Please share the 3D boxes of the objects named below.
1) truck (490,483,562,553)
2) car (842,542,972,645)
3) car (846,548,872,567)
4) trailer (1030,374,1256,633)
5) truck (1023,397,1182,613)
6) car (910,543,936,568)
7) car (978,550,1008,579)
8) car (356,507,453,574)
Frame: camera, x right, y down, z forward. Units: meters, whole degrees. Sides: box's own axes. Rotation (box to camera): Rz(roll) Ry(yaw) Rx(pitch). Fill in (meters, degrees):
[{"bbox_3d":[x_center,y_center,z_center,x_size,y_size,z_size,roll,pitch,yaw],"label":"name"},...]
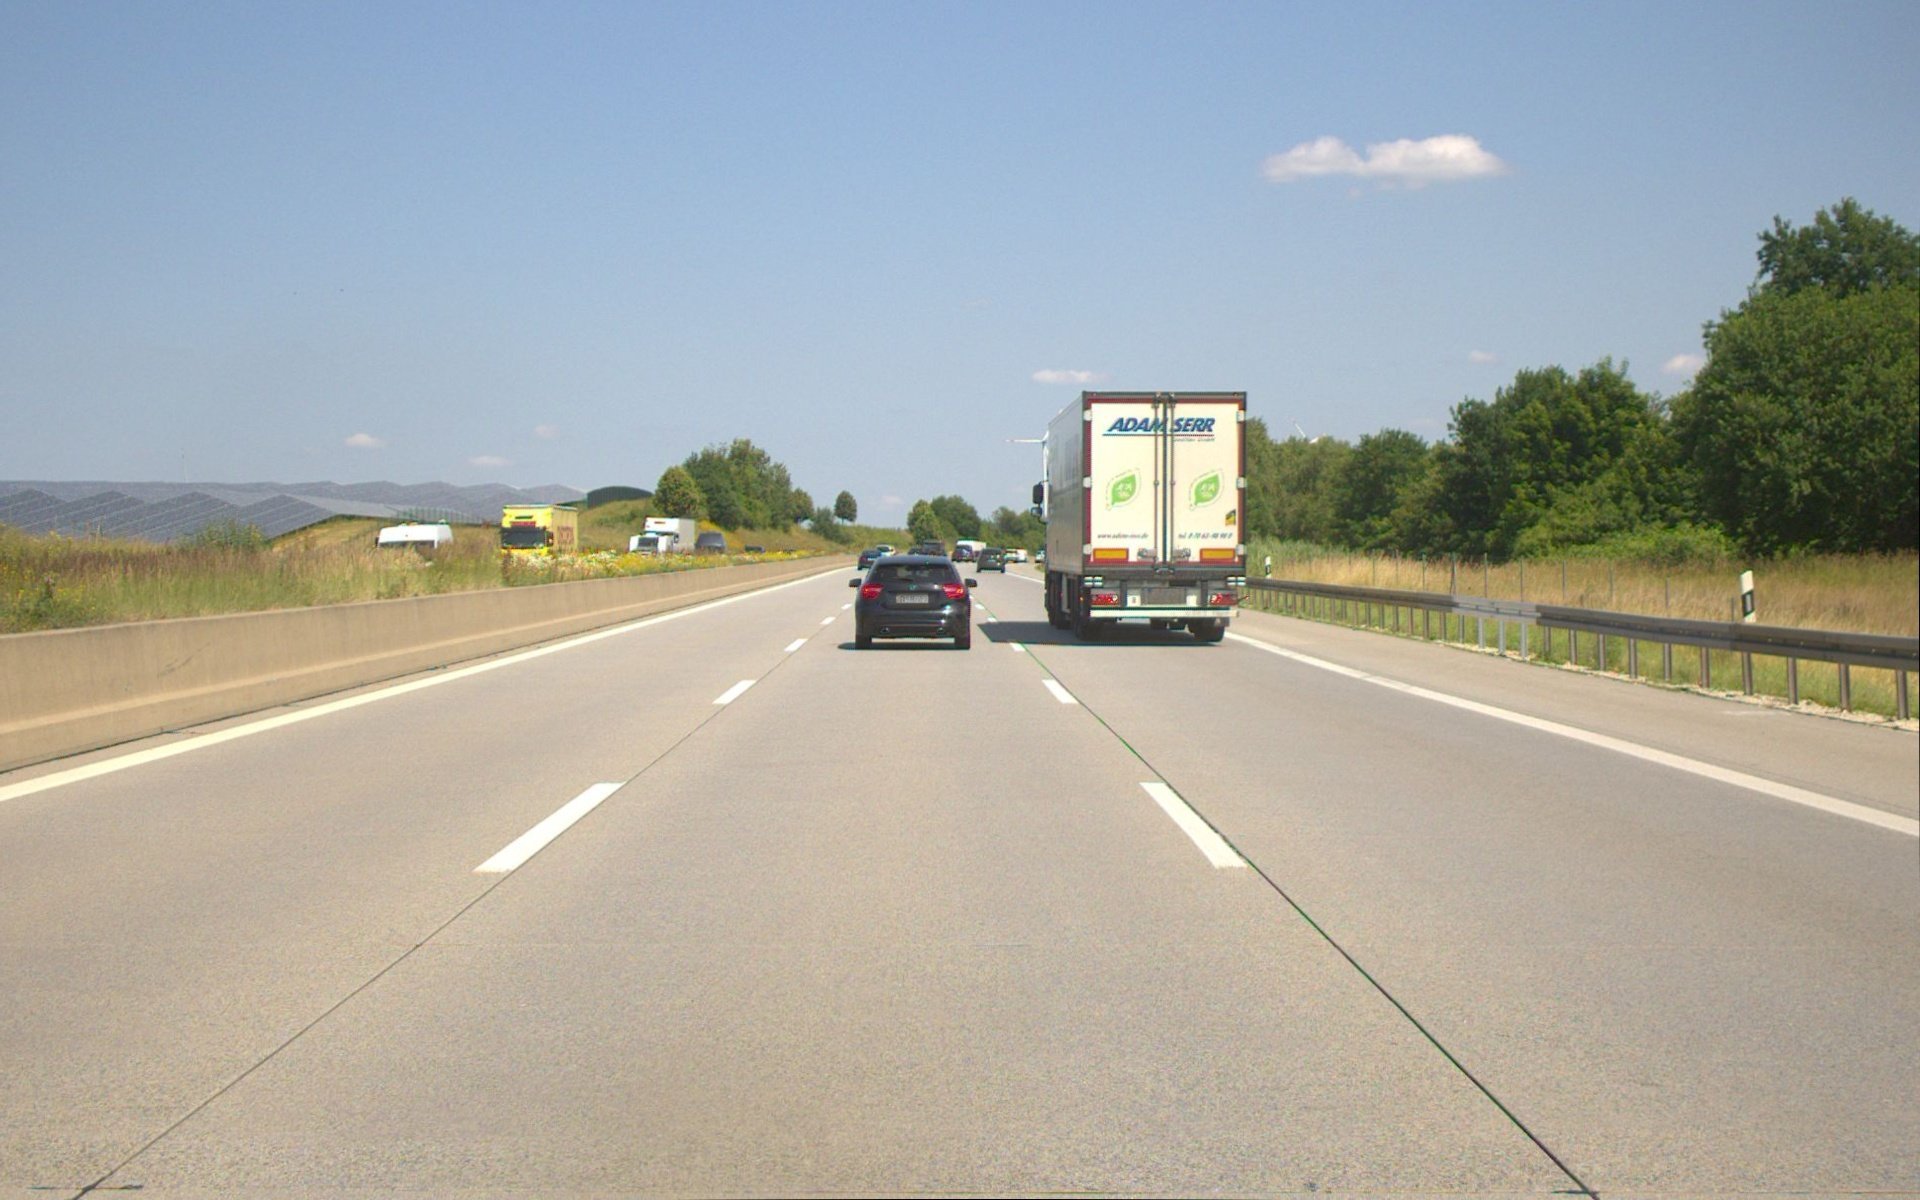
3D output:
[{"bbox_3d":[-22.432,-4.224,177.954,2.923,3.528,6.348,0,0,0],"label":"truck"},{"bbox_3d":[-0.831,-0.132,53.511,1.910,1.487,4.192,1,1,-1],"label":"car"},{"bbox_3d":[-6.829,-2.857,232.651,1.655,1.192,3.960,3,1,-1],"label":"car"},{"bbox_3d":[3.009,-1.604,60.410,2.852,4.029,12.714,1,1,-2],"label":"trailer"},{"bbox_3d":[2.760,-1.841,68.172,2.812,4.074,5.799,1,1,-1],"label":"truck"},{"bbox_3d":[-2.831,-3.355,259.978,1.827,1.931,3.809,0,1,-3],"label":"car"},{"bbox_3d":[2.185,-2.332,227.074,1.827,1.900,4.000,0,1,-1],"label":"car"},{"bbox_3d":[-17.512,-1.843,108.631,2.183,2.007,6.349,1,0,-2],"label":"car"}]
